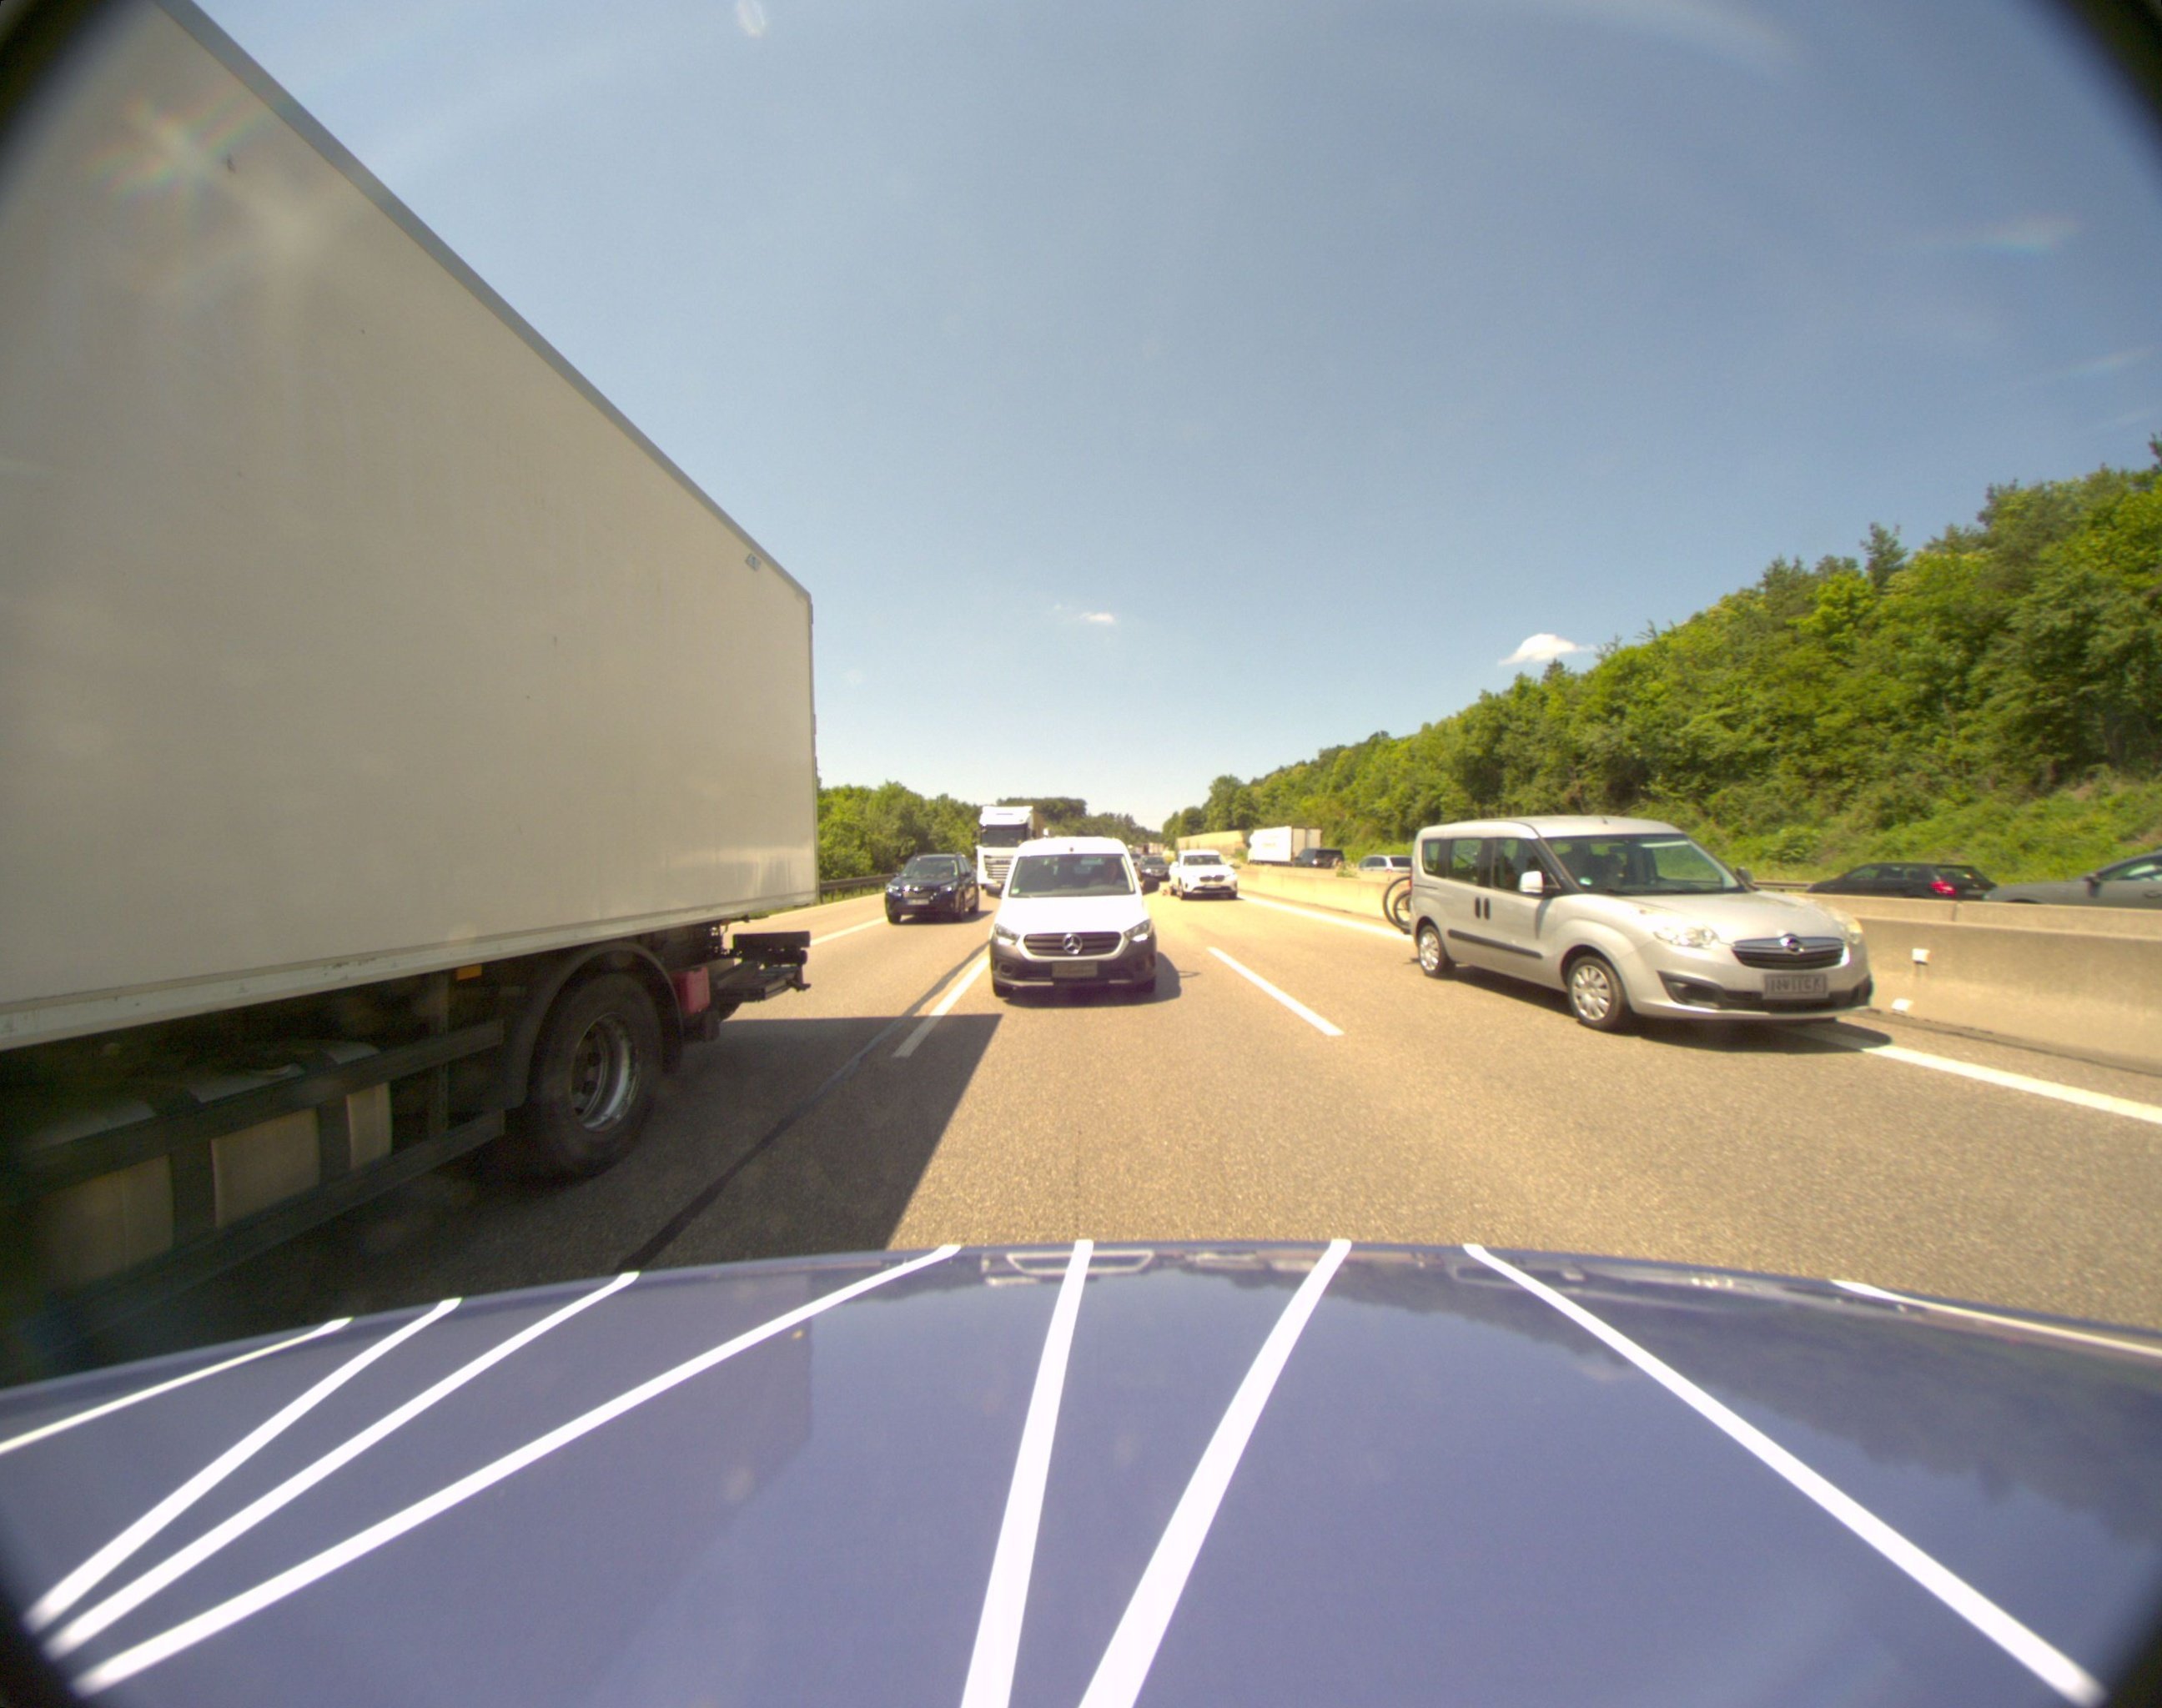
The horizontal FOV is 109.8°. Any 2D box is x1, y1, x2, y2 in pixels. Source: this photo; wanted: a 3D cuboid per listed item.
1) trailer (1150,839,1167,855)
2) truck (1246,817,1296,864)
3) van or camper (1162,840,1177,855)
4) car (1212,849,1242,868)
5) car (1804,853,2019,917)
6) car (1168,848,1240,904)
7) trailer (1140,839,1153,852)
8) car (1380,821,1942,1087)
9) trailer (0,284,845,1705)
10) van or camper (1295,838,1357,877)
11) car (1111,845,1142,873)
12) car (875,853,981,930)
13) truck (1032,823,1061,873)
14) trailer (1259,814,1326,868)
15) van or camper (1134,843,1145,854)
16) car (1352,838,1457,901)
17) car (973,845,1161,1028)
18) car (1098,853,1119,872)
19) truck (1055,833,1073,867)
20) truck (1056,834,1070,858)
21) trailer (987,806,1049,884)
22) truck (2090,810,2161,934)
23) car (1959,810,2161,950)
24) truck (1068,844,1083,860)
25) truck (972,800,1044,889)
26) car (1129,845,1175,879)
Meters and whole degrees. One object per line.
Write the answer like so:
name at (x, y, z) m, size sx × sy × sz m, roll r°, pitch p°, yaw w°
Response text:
trailer at (19.557, -1.793, 191.617) m, size 3.005 × 3.849 × 11.397 m, roll -2°, pitch 1°, yaw 0°
truck at (18.985, -1.362, 76.225) m, size 2.957 × 4.456 × 7.516 m, roll -2°, pitch 1°, yaw -1°
van or camper at (15.417, -1.192, 132.713) m, size 1.998 × 2.371 × 4.808 m, roll 4°, pitch 1°, yaw 3°
car at (14.481, 0.418, 75.475) m, size 1.999 × 1.753 × 4.450 m, roll -2°, pitch 1°, yaw -1°
car at (22.288, 0.765, 20.622) m, size 1.935 × 1.476 × 3.542 m, roll -2°, pitch 1°, yaw -2°
car at (4.180, 0.703, 26.442) m, size 1.824 × 1.696 × 3.999 m, roll -2°, pitch 1°, yaw 0°
trailer at (21.893, -2.892, 254.324) m, size 3.443 × 4.171 × 7.895 m, roll -2°, pitch 1°, yaw 0°
car at (4.925, 0.636, 7.632) m, size 1.857 × 1.762 × 4.916 m, roll -2°, pitch 1°, yaw 0°
trailer at (-3.489, 0.290, 3.063) m, size 2.562 × 2.882 × 7.881 m, roll -2°, pitch 0°, yaw 0°
van or camper at (13.625, 0.119, 42.643) m, size 1.998 × 2.002 × 4.927 m, roll -2°, pitch 1°, yaw 2°
car at (3.335, 0.356, 56.300) m, size 1.998 × 2.002 × 4.000 m, roll -1°, pitch 0°, yaw 0°
car at (-3.803, 0.860, 19.689) m, size 1.999 × 1.682 × 4.609 m, roll 0°, pitch 1°, yaw -3°
truck at (-3.309, -0.492, 74.312) m, size 2.395 × 4.437 × 10.868 m, roll -1°, pitch 0°, yaw -1°
trailer at (19.027, -1.209, 69.108) m, size 2.956 × 4.456 × 10.814 m, roll -2°, pitch 1°, yaw 0°
van or camper at (16.196, -1.548, 210.989) m, size 2.400 × 2.860 × 6.709 m, roll -2°, pitch 1°, yaw -2°
car at (11.313, 0.465, 26.896) m, size 1.998 × 2.002 × 3.999 m, roll -2°, pitch 1°, yaw 0°
car at (-0.123, 0.775, 9.494) m, size 1.756 × 1.681 × 4.363 m, roll -2°, pitch 1°, yaw 0°
car at (3.013, 0.922, 84.625) m, size 1.999 × 2.002 × 3.998 m, roll -2°, pitch 1°, yaw -2°
truck at (-2.329, -0.484, 104.558) m, size 2.187 × 4.437 × 10.868 m, roll -1°, pitch 0°, yaw -1°
truck at (-3.131, -1.323, 132.590) m, size 2.187 × 4.073 × 10.868 m, roll -1°, pitch 0°, yaw -1°
trailer at (-3.511, -0.586, 45.288) m, size 2.767 × 4.060 × 11.614 m, roll 0°, pitch 1°, yaw 0°
truck at (18.635, 0.301, 9.873) m, size 2.357 × 2.002 × 6.490 m, roll -2°, pitch 1°, yaw -1°
car at (15.041, 0.314, 10.098) m, size 1.788 × 1.827 × 4.292 m, roll -2°, pitch 1°, yaw 0°
truck at (-1.569, -0.557, 212.191) m, size 4.084 × 4.403 × 11.396 m, roll -2°, pitch 0°, yaw -1°
truck at (-3.587, -0.521, 39.061) m, size 2.766 × 4.061 × 7.332 m, roll -2°, pitch 1°, yaw 1°
car at (3.983, 0.412, 43.202) m, size 1.999 × 1.747 × 3.998 m, roll -2°, pitch 1°, yaw -3°
